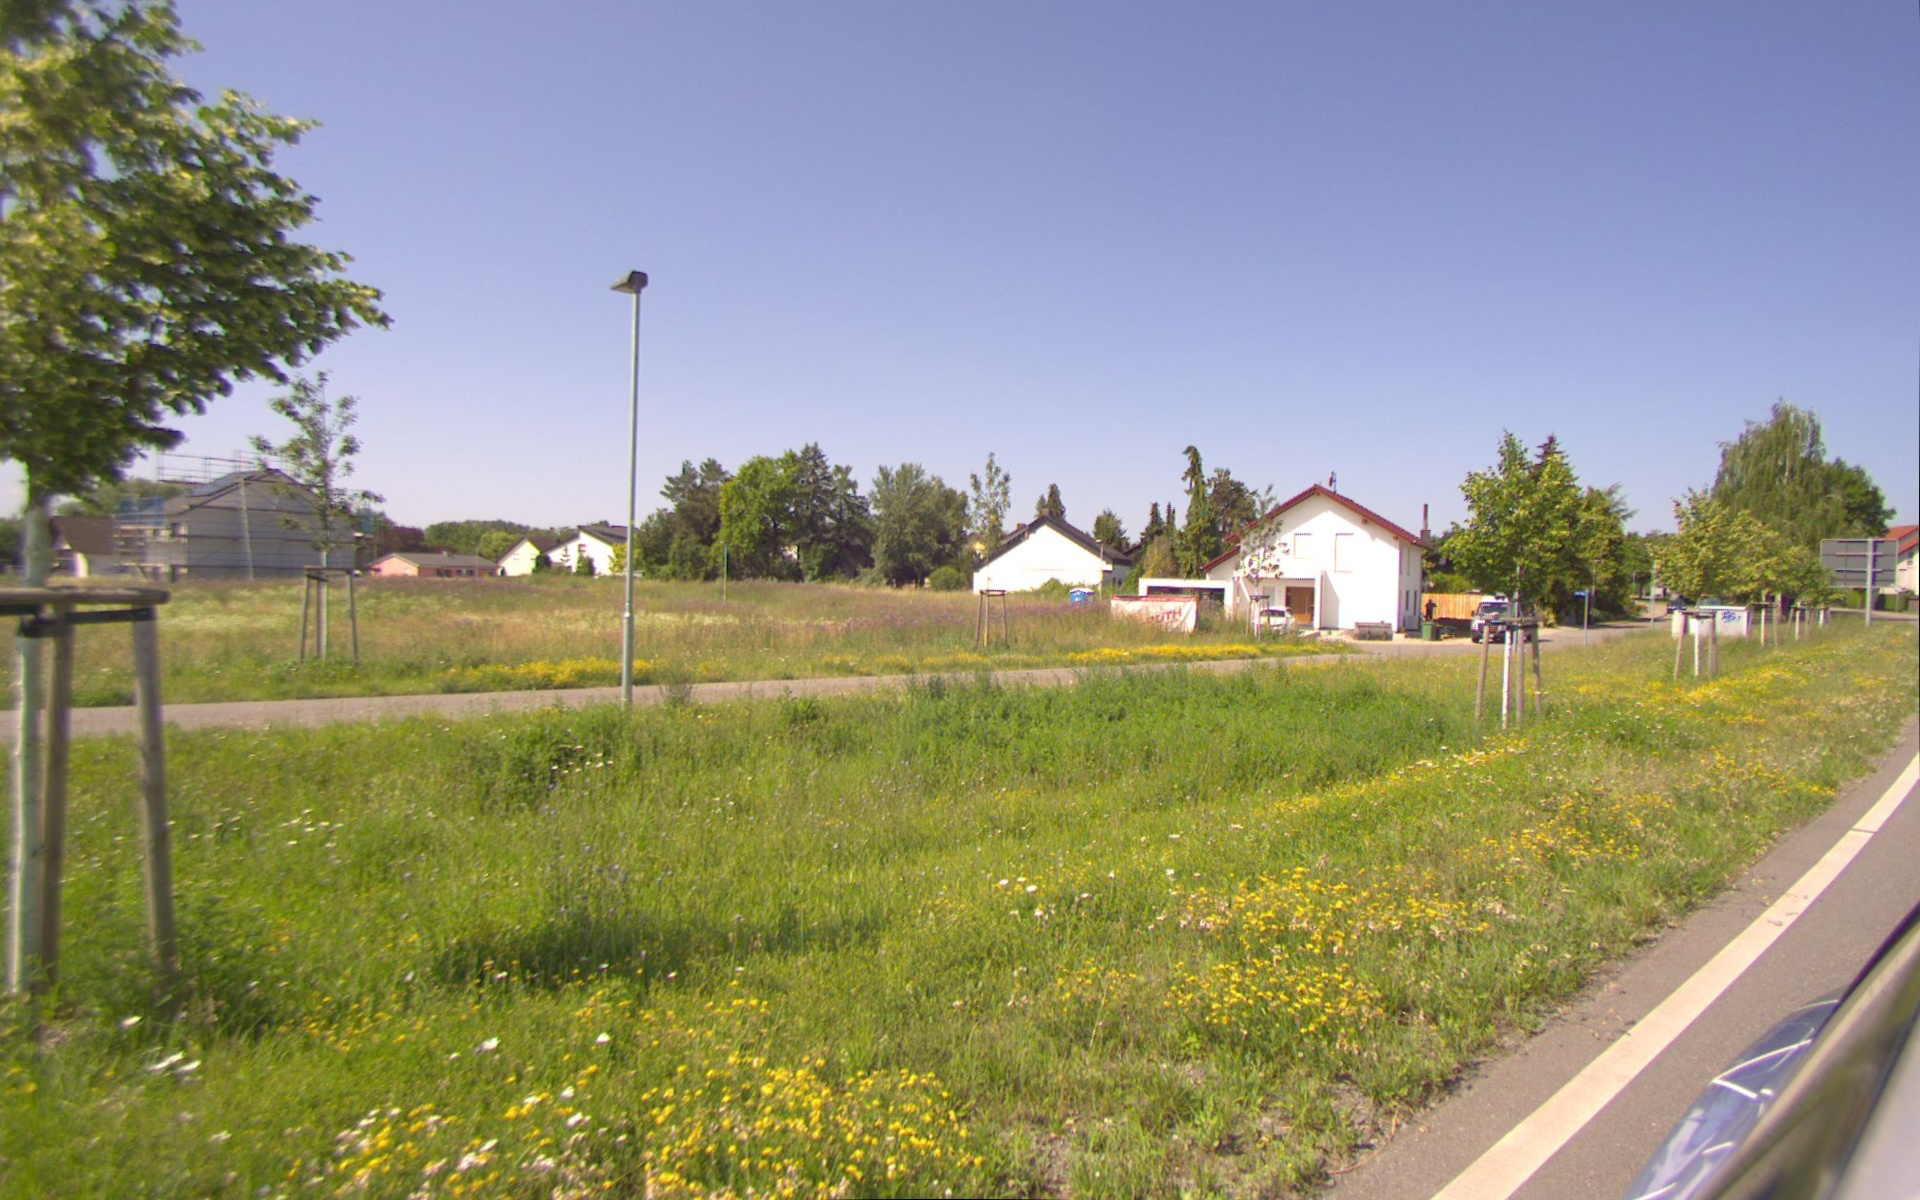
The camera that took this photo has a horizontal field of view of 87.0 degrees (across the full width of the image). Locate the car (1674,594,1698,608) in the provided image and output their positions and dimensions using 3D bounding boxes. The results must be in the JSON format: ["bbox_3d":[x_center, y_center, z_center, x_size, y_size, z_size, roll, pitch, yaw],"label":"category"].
[{"bbox_3d":[80.549,0.067,112.231,1.856,1.463,4.108,0,0,40],"label":"car"}]

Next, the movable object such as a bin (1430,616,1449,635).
[{"bbox_3d":[25.131,1.334,53.053,0.627,0.949,0.693,1,0,-41],"label":"movable object such as a bin"}]

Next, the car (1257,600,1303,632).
[{"bbox_3d":[17.343,0.828,54.764,1.550,1.577,4.442,-1,0,29],"label":"car"}]

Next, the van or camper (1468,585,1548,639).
[{"bbox_3d":[28.513,0.530,52.580,2.172,2.633,5.935,1,1,44],"label":"van or camper"}]

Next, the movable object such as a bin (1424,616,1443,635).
[{"bbox_3d":[24.628,1.343,52.593,0.627,0.949,0.693,1,0,-41],"label":"movable object such as a bin"}]

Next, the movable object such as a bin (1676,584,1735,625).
[{"bbox_3d":[48.594,0.223,65.880,2.316,2.494,6.837,1,1,43],"label":"movable object such as a bin"}]
